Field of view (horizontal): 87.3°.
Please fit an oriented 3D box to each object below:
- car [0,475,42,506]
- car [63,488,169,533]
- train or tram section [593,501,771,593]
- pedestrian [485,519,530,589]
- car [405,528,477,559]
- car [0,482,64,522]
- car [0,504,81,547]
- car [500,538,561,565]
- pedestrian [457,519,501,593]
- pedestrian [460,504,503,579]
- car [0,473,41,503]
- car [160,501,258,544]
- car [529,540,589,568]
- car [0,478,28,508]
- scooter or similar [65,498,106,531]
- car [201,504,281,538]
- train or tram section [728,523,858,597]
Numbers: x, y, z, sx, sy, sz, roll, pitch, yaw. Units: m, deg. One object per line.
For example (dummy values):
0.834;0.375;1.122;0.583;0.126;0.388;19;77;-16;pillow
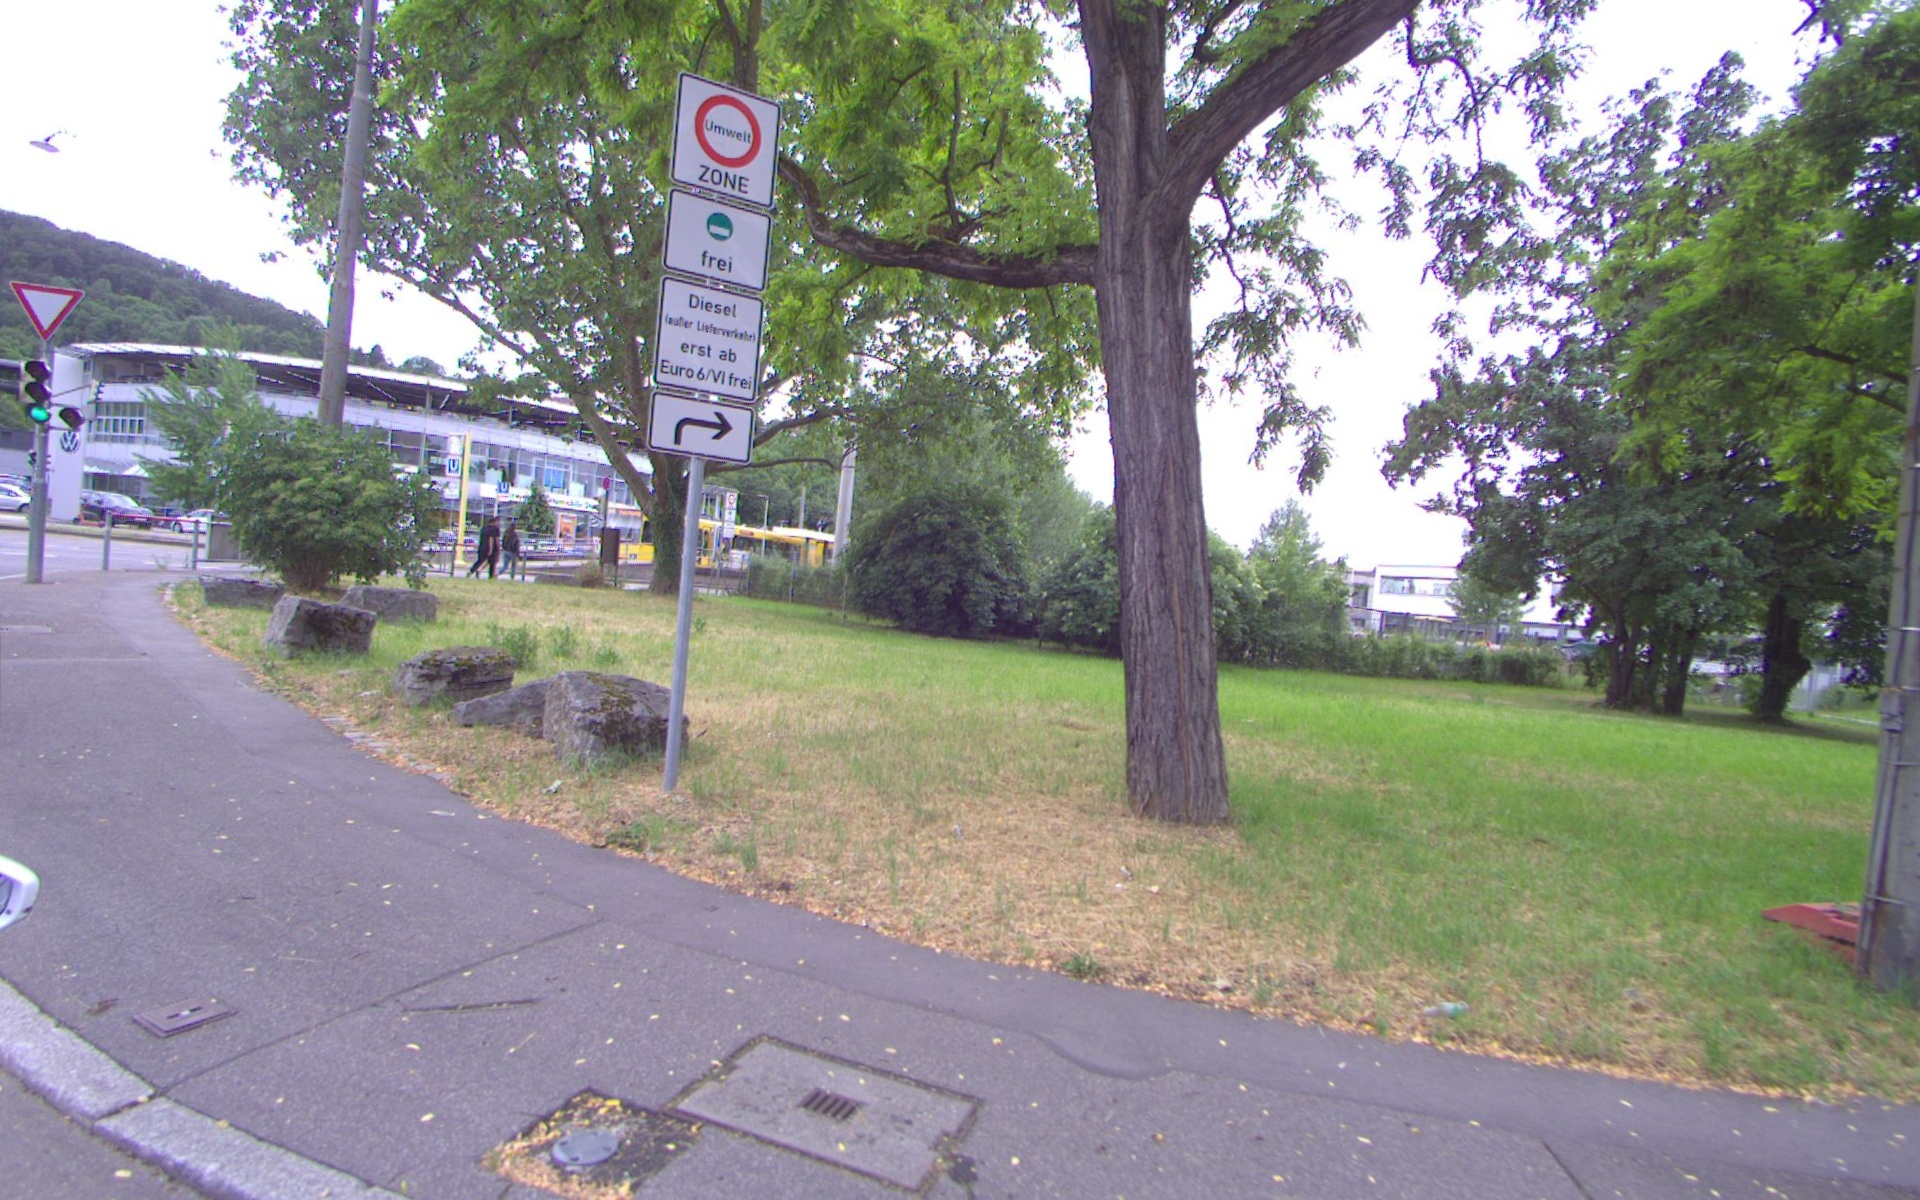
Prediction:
-68.160;-7.939;71.145;1.973;1.748;4.492;5;-4;42;car
-41.030;-4.337;48.920;3.924;1.660;2.001;6;0;16;car
-14.659;-2.628;54.650;2.698;4.018;11.901;6;1;20;train or tram section
-11.971;-1.214;26.611;0.593;1.709;0.672;6;-2;21;pedestrian
-34.300;-3.713;66.528;3.924;1.574;1.926;6;2;16;car
-54.546;-5.743;57.661;1.973;1.748;4.492;5;-4;42;car
-59.462;-4.791;64.407;1.973;2.019;4.492;5;-4;42;car
-31.463;-3.559;73.675;3.928;1.574;1.924;6;1;24;car
-13.115;-1.191;27.432;0.593;1.888;0.672;6;-2;21;pedestrian
-12.722;-1.542;26.761;0.593;1.891;0.671;6;1;21;pedestrian
-71.649;-8.540;74.846;1.973;1.748;4.492;5;-4;42;car
-39.731;-4.108;53.248;3.924;1.658;2.003;6;-3;16;car
-30.399;-3.489;76.226;3.928;1.571;1.928;6;-3;24;car
-65.767;-7.472;67.450;1.973;1.748;4.492;5;-4;42;car
-39.773;-3.896;45.772;0.567;1.302;1.201;5;-3;38;scooter or similar
-47.595;-5.212;66.645;3.923;1.571;1.930;7;-3;7;car
-10.608;-2.443;65.921;2.698;4.018;11.901;6;1;20;train or tram section
